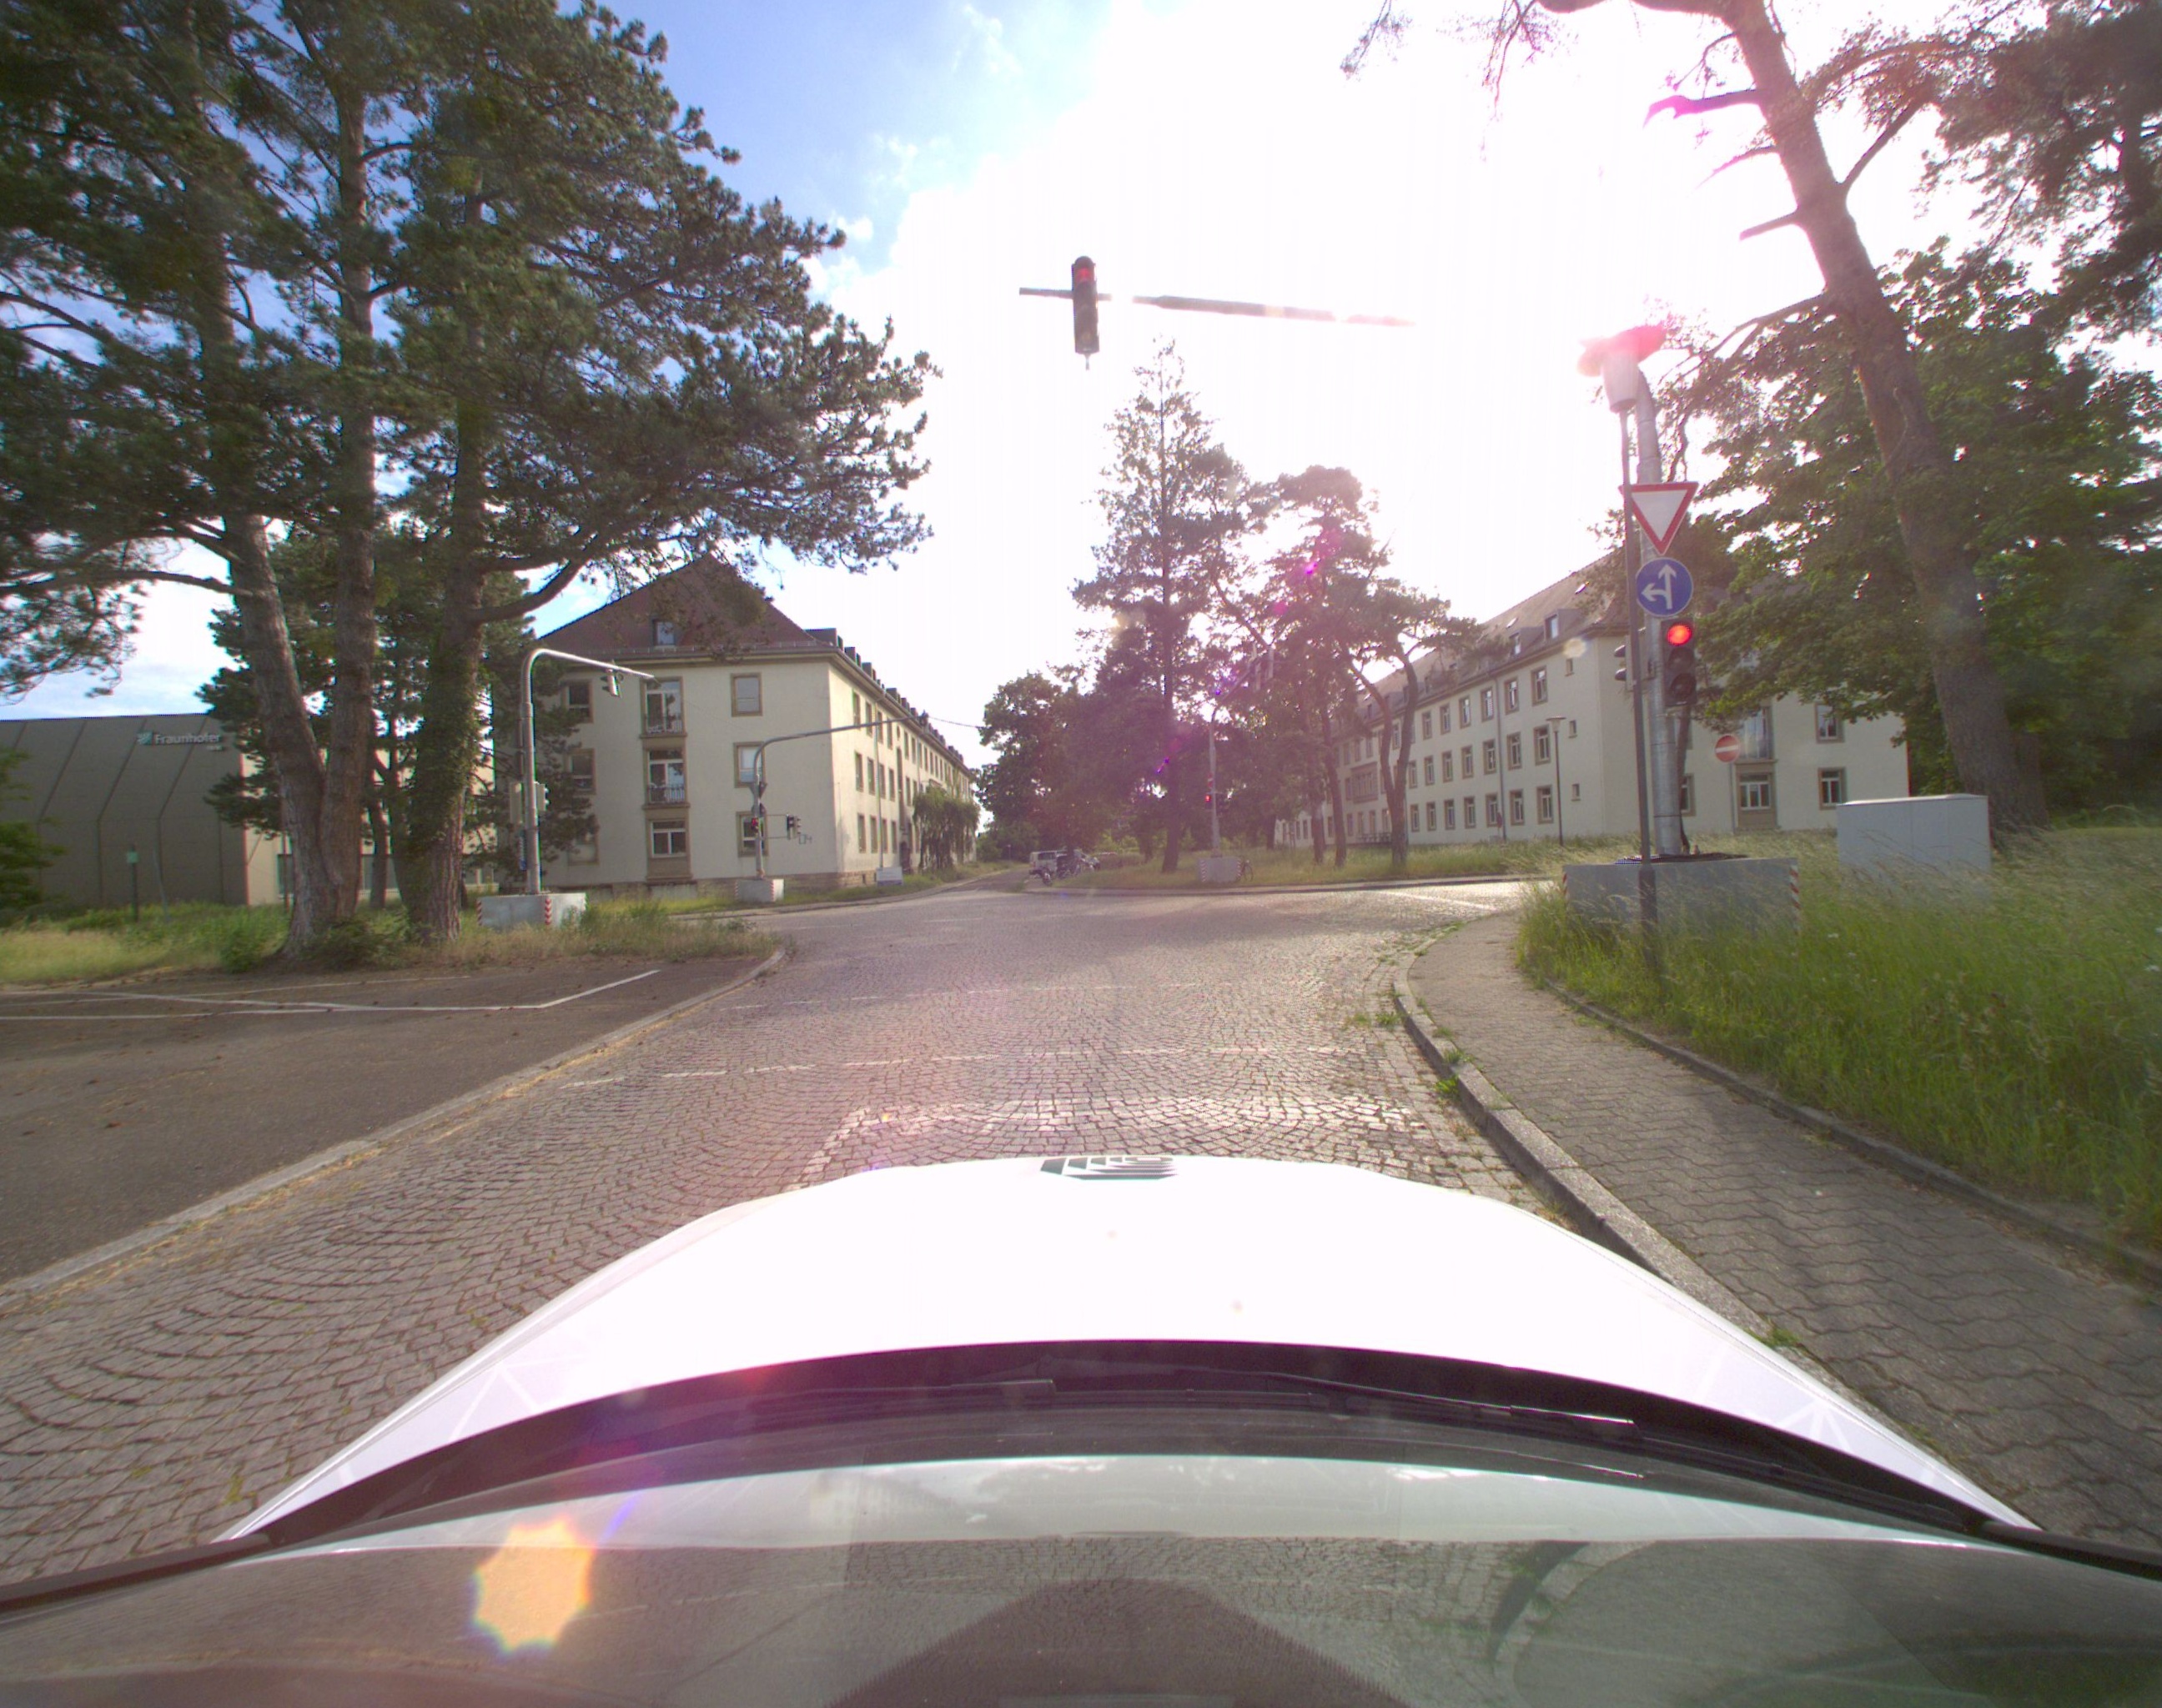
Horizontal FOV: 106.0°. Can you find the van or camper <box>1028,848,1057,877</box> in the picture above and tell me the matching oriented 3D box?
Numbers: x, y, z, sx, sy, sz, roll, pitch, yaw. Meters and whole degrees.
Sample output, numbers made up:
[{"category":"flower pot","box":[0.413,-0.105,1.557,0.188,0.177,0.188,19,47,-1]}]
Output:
[{"category":"van or camper","box":[-2.917,0.589,61.194,1.989,1.948,6.046,-3,0,-3]}]

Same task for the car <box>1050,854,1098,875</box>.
[{"category":"car","box":[-0.503,0.719,57.145,3.135,1.354,1.616,-3,0,-8]}]

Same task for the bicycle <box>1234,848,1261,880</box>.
[{"category":"bicycle","box":[6.353,0.358,31.201,0.720,1.169,2.740,-1,0,5]}]

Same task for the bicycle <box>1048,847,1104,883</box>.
[{"category":"bicycle","box":[-0.256,0.563,42.762,2.773,1.694,1.117,-3,0,-7]}]

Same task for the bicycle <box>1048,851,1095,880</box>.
[{"category":"bicycle","box":[-0.561,0.690,48.848,2.767,1.694,1.120,0,0,-1]}]

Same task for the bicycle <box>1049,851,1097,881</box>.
[{"category":"bicycle","box":[-0.445,0.699,47.514,2.765,1.694,1.121,0,0,2]}]

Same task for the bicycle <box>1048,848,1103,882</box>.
[{"category":"bicycle","box":[-0.309,0.593,43.954,2.775,1.694,1.117,-3,0,-9]}]

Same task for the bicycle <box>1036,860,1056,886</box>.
[{"category":"bicycle","box":[-1.635,0.878,38.431,0.723,1.107,2.461,-7,0,0]}]
